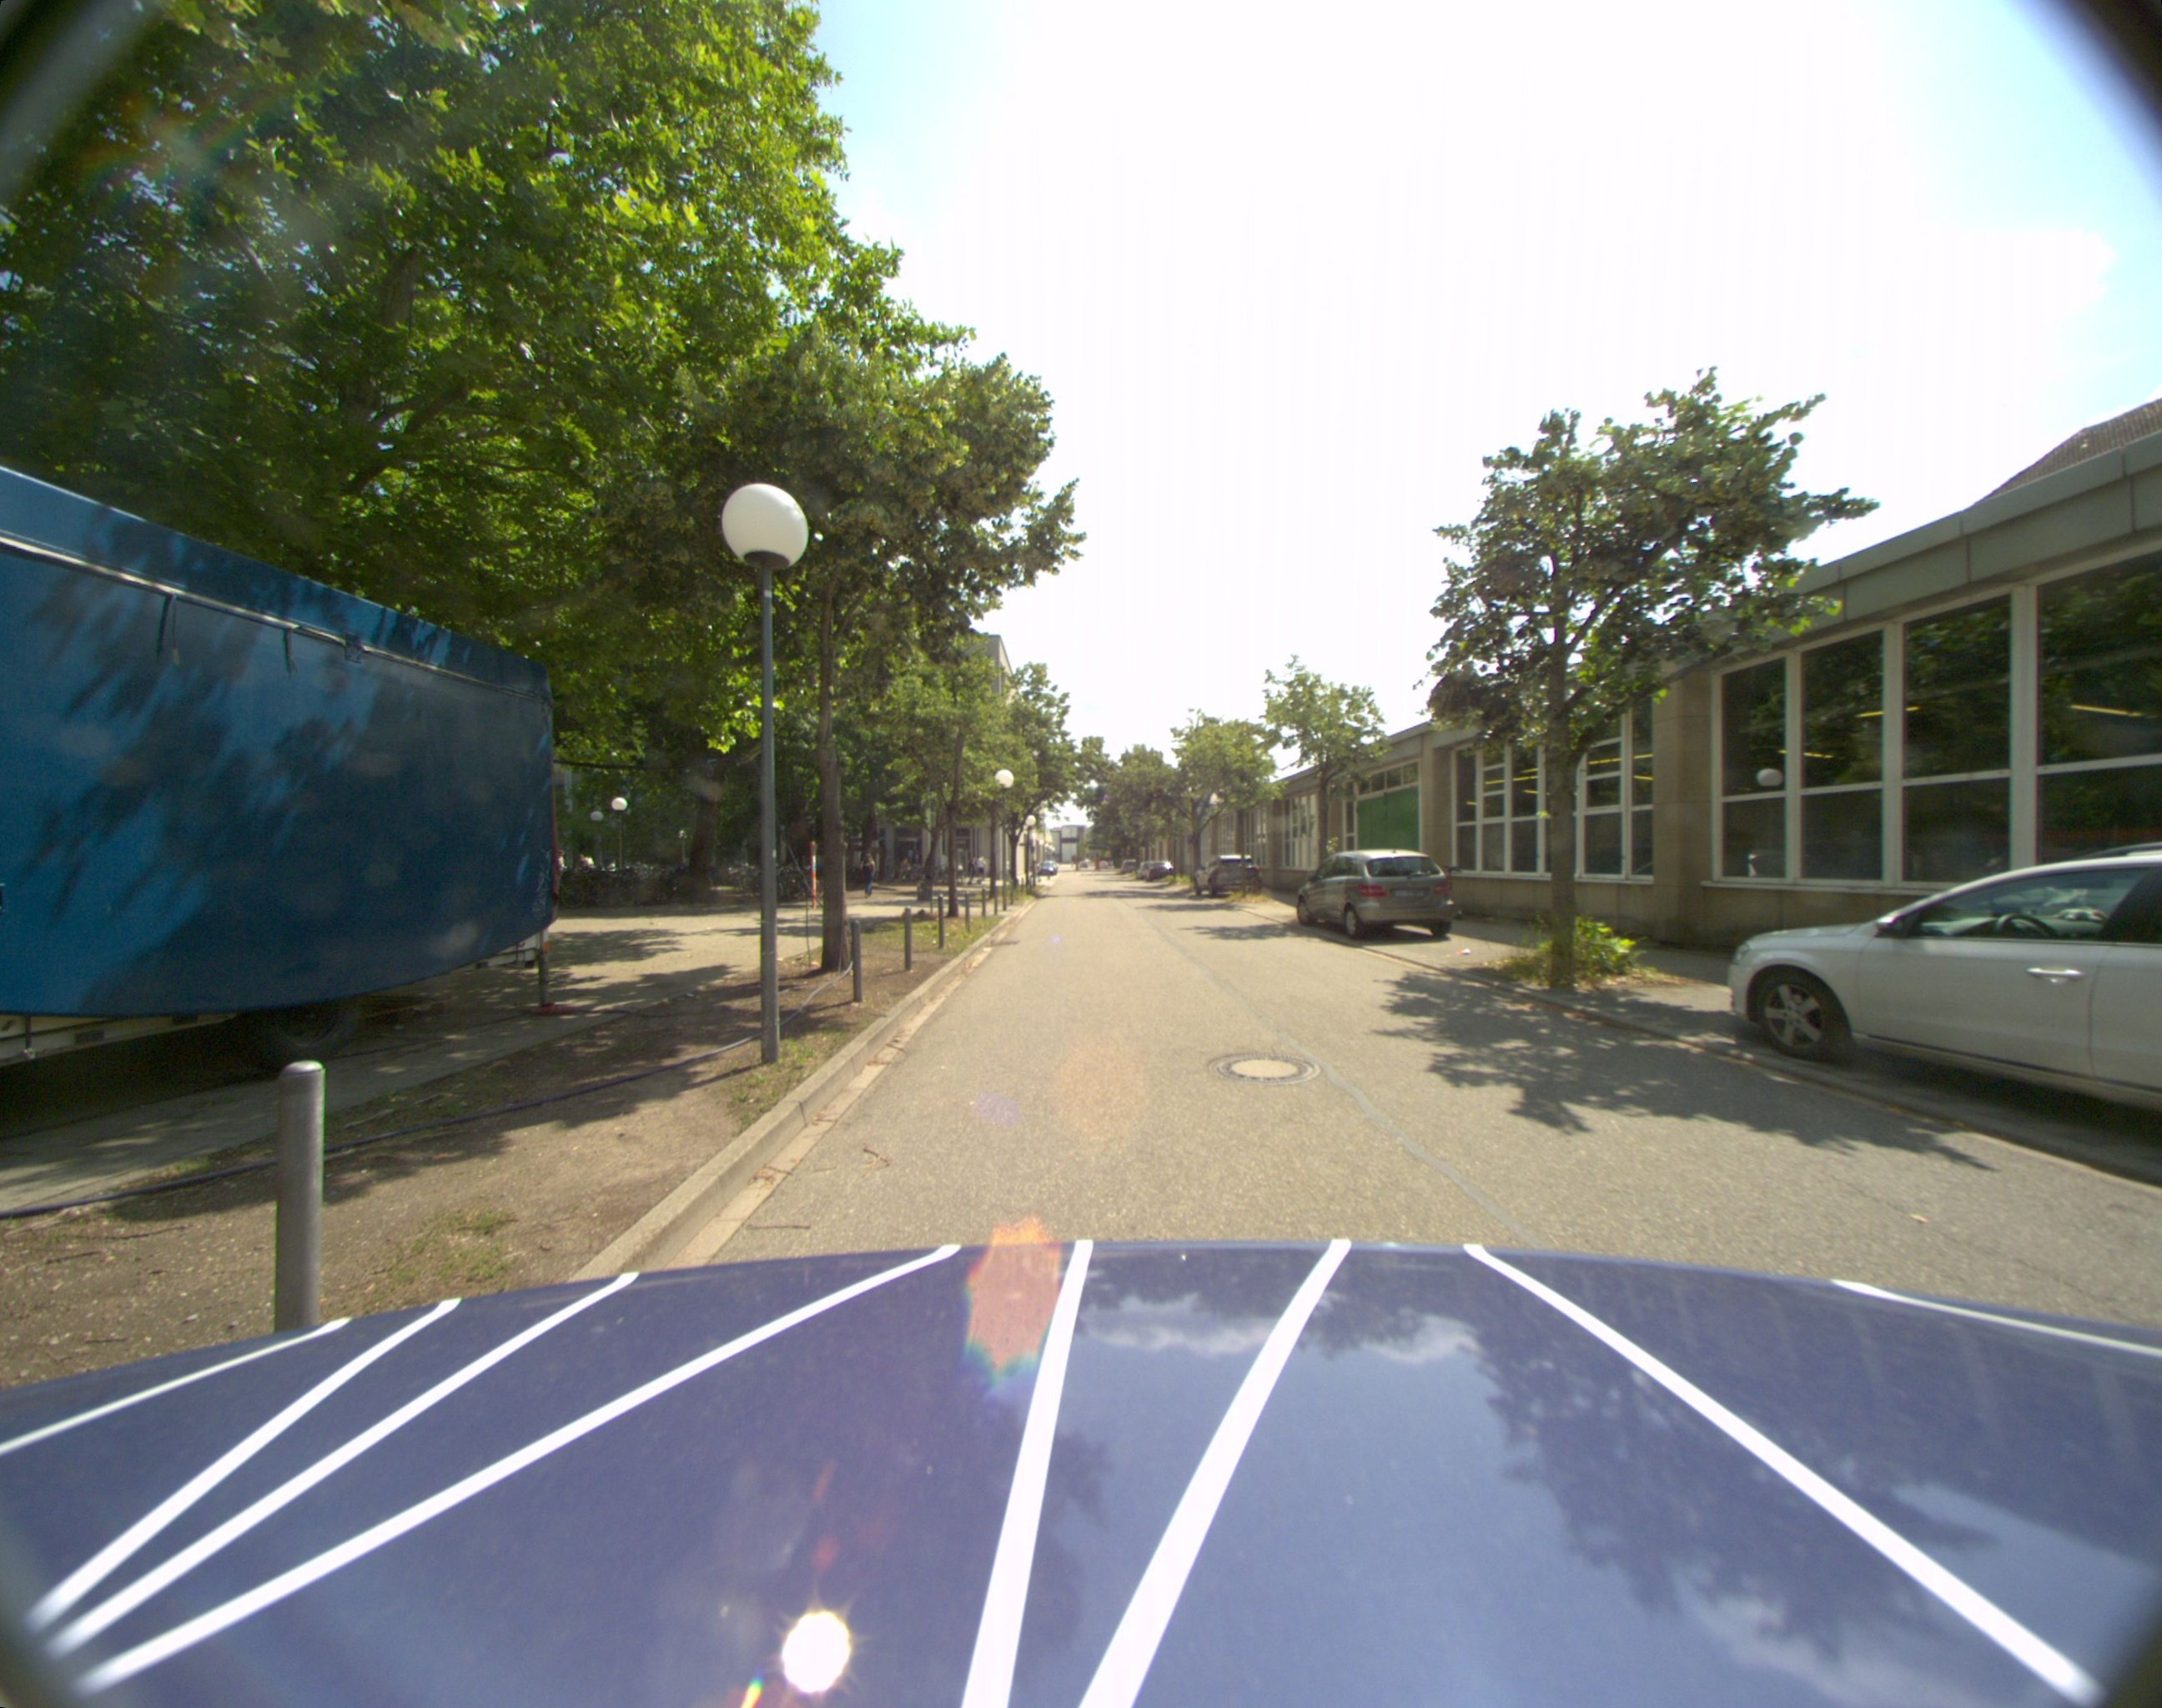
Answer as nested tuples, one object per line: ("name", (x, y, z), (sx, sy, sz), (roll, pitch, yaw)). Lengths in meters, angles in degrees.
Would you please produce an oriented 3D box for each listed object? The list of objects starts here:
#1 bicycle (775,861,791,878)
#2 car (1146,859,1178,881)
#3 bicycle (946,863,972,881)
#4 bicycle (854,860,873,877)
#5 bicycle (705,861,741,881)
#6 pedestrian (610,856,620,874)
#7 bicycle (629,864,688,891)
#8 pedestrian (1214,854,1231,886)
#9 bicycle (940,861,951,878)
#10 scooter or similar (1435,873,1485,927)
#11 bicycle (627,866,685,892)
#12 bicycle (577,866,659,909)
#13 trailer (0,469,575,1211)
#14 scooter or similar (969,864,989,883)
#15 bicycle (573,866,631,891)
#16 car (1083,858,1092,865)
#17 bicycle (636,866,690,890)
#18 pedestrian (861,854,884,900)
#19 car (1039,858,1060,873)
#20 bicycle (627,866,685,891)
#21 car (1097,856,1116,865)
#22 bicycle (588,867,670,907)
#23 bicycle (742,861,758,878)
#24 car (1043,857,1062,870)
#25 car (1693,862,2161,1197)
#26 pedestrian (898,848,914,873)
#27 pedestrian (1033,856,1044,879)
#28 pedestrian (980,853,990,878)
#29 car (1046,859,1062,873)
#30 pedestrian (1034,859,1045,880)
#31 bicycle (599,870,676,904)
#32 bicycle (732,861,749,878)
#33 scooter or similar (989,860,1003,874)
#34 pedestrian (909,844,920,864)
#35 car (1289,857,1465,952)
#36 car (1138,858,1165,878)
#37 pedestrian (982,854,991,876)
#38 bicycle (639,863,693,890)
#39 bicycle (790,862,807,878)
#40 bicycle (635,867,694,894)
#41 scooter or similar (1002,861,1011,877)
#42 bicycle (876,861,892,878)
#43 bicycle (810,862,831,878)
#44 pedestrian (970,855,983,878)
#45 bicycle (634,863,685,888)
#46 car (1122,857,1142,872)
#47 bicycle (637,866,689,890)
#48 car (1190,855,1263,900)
("bicycle", (-20.086, 1.054, 51.249), (0.454, 1.123, 1.688), (-2, -1, -5))
("car", (5.713, 1.109, 54.207), (1.730, 1.427, 4.290), (-2, -1, -1))
("bicycle", (-8.074, 1.162, 50.278), (0.604, 1.134, 1.790), (2, 1, 33))
("bicycle", (-14.584, 0.975, 50.948), (0.627, 1.118, 1.697), (1, -2, 5))
("bicycle", (-20.757, 0.976, 44.067), (1.849, 1.163, 0.435), (0, 0, -35))
("pedestrian", (-32.480, 0.762, 52.944), (0.402, 1.205, 0.387), (0, 0, 8))
("bicycle", (-16.117, 0.891, 29.044), (0.477, 0.973, 1.908), (1, 0, 41))
("pedestrian", (7.911, 0.883, 42.453), (0.790, 1.776, 0.670), (-2, 0, 3))
("bicycle", (-10.551, 1.186, 59.076), (0.531, 1.235, 1.829), (0, 1, -1))
("scooter or similar", (8.680, 1.040, 17.430), (0.506, 1.162, 1.215), (-2, 0, 0))
("bicycle", (-16.509, 0.974, 29.518), (1.908, 0.973, 0.477), (1, 0, -41))
("bicycle", (-12.495, 0.899, 20.564), (1.811, 1.112, 0.611), (1, 0, -22))
("trailer", (-5.776, -0.072, 3.563), (2.699, 3.034, 6.256), (1, 0, -1))
("scooter or similar", (-6.092, 1.169, 45.284), (0.496, 1.107, 1.365), (0, -1, 25))
("bicycle", (-19.083, 0.962, 30.293), (1.908, 0.973, 0.377), (1, 0, -39))
("car", (1.402, 1.772, 172.366), (1.803, 1.440, 3.676), (-3, 0, -1))
("bicycle", (-17.211, 0.975, 31.306), (1.907, 0.973, 0.477), (1, 0, -30))
("pedestrian", (-7.489, 0.806, 27.286), (0.570, 1.563, 0.927), (1, 4, 0))
("car", (-3.182, 1.163, 77.359), (1.843, 1.389, 3.878), (2, -1, 0))
("bicycle", (-16.765, 0.954, 29.992), (1.908, 0.973, 0.477), (1, 0, -42))
("car", (5.064, 1.298, 152.000), (3.674, 1.440, 1.804), (-3, 0, -2))
("bicycle", (-12.856, 0.932, 21.667), (1.906, 1.112, 0.611), (1, 0, -22))
("bicycle", (-22.164, 1.051, 50.916), (0.454, 1.123, 1.688), (-2, -1, -5))
("car", (-3.091, 1.054, 83.063), (1.843, 1.389, 3.878), (2, -1, 0))
("car", (5.808, 0.823, 3.758), (1.730, 1.448, 4.582), (-2, 0, -2))
("pedestrian", (-12.516, 0.454, 54.379), (0.937, 1.730, 0.749), (-1, 1, -3))
("pedestrian", (-3.219, 1.043, 57.435), (0.797, 1.718, 0.601), (0, 0, -10))
("pedestrian", (-7.375, 0.845, 58.303), (0.687, 1.880, 0.686), (-1, 2, -3))
("car", (-3.458, 1.574, 97.930), (1.799, 1.691, 4.000), (3, -1, 0))
("pedestrian", (-3.099, 1.156, 56.729), (0.797, 1.533, 0.663), (0, 0, -10))
("bicycle", (-13.285, 0.997, 22.802), (1.906, 0.973, 0.611), (1, 0, -22))
("bicycle", (-22.731, 1.020, 50.722), (0.454, 1.123, 1.688), (-2, -1, -5))
("scooter or similar", (-7.730, 1.197, 69.000), (0.566, 1.205, 1.506), (-2, 3, -40))
("pedestrian", (-15.381, 0.001, 70.132), (0.618, 1.786, 0.811), (0, 1, 32))
("car", (5.666, 0.874, 15.142), (1.762, 1.547, 4.112), (-2, 0, -2))
("car", (5.512, 1.077, 59.933), (1.634, 1.440, 3.752), (-3, 0, -1))
("pedestrian", (-7.413, 0.890, 59.460), (0.614, 1.719, 0.542), (0, 1, 1))
("bicycle", (-17.395, 0.940, 31.883), (1.908, 1.076, 0.477), (1, 0, -36))
("bicycle", (-18.902, 1.063, 50.856), (0.617, 1.041, 1.688), (-2, -1, -5))
("bicycle", (-15.693, 0.986, 28.659), (0.477, 0.973, 1.908), (1, 0, 41))
("scooter or similar", (-6.003, 1.180, 61.263), (0.564, 1.204, 1.510), (2, 0, -1))
("bicycle", (-13.241, 1.030, 51.054), (0.481, 1.118, 1.697), (1, -2, 5))
("bicycle", (-17.448, 1.045, 50.958), (0.617, 1.041, 1.697), (-3, -1, 8))
("pedestrian", (-8.176, 0.935, 59.346), (0.811, 1.786, 0.618), (-1, 1, -44))
("bicycle", (-18.571, 0.956, 33.464), (1.908, 1.076, 0.477), (1, 0, -36))
("car", (5.472, 1.137, 82.116), (1.803, 1.440, 3.676), (-3, 0, -1))
("bicycle", (-17.856, 1.021, 32.496), (1.908, 0.973, 0.477), (1, 0, -39))
("car", (5.780, 0.876, 30.659), (1.827, 1.623, 4.516), (-2, 0, -3))
